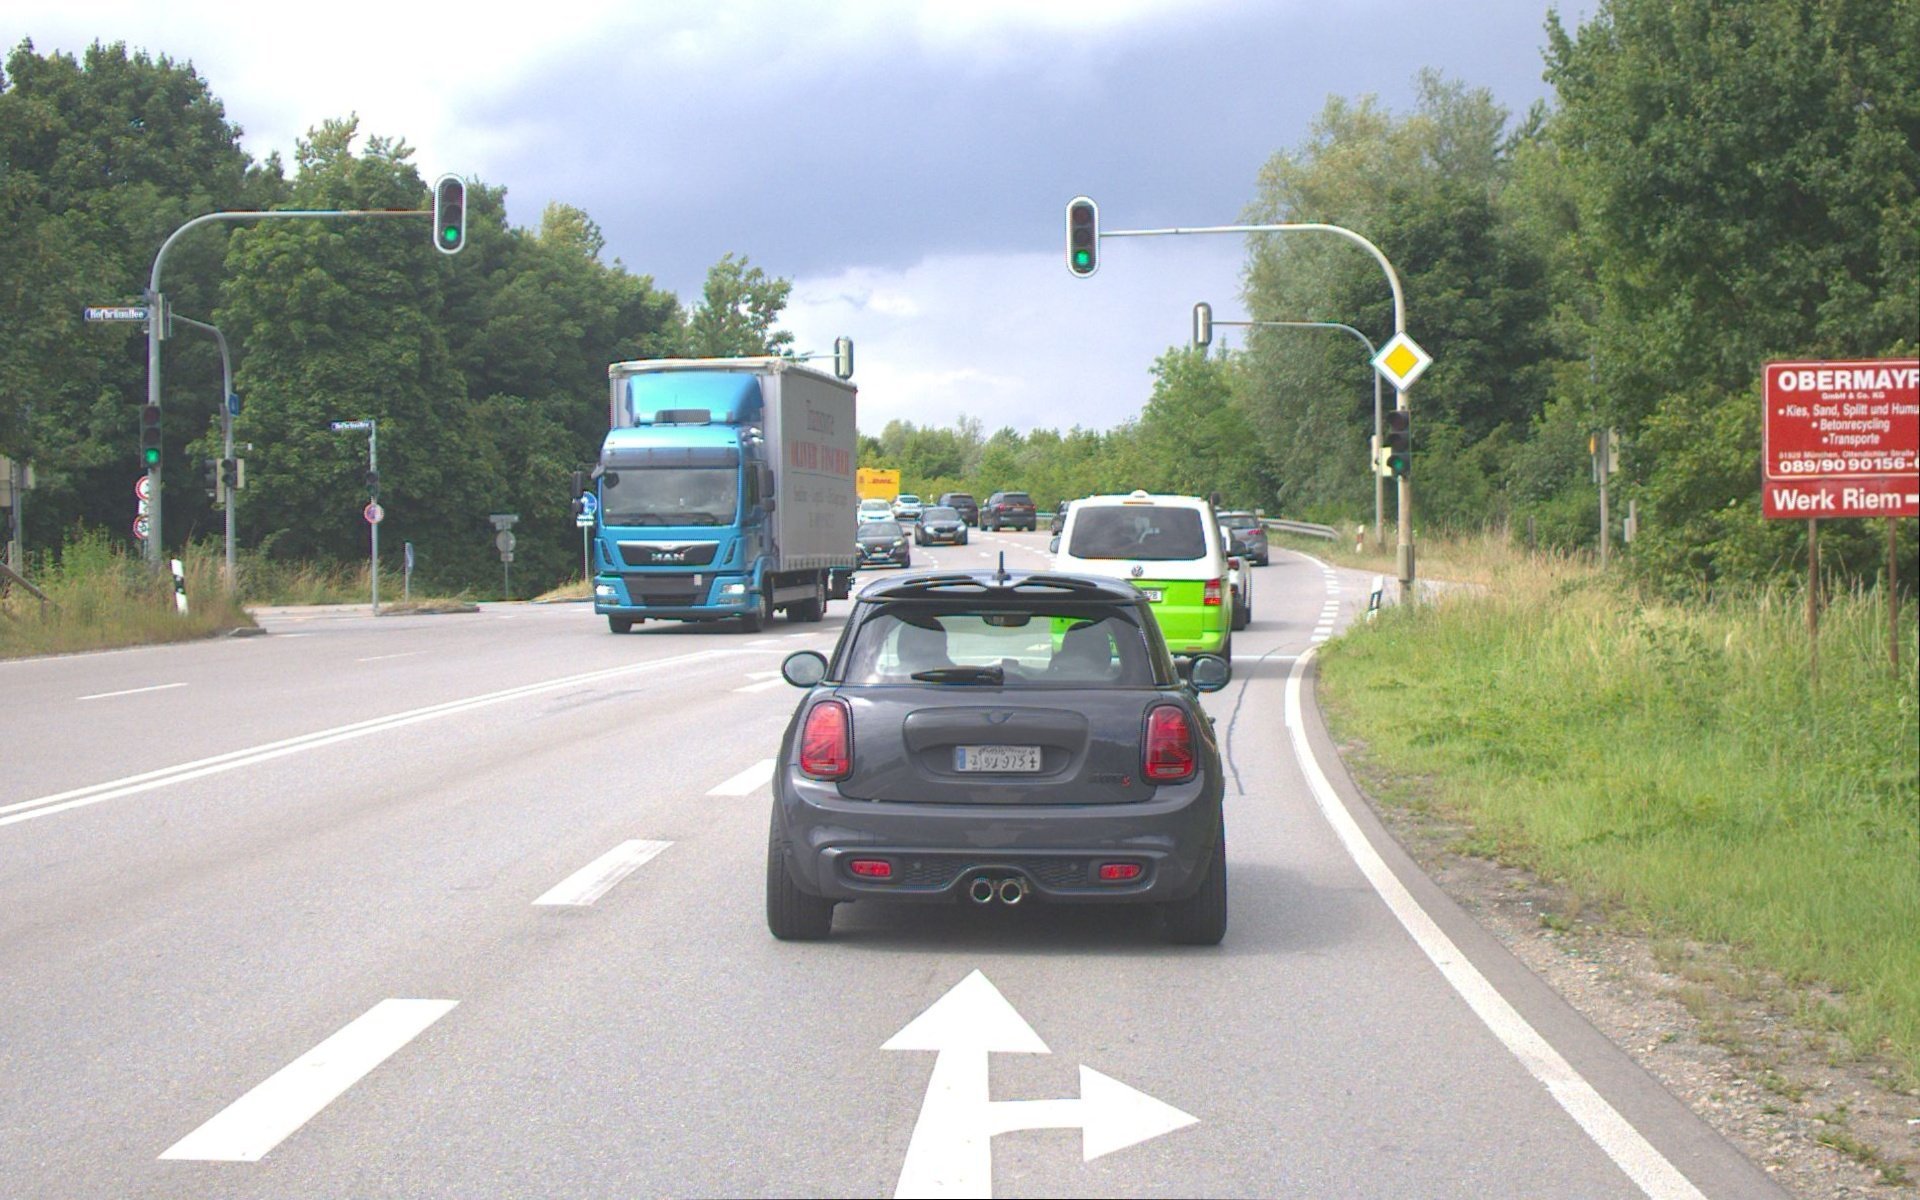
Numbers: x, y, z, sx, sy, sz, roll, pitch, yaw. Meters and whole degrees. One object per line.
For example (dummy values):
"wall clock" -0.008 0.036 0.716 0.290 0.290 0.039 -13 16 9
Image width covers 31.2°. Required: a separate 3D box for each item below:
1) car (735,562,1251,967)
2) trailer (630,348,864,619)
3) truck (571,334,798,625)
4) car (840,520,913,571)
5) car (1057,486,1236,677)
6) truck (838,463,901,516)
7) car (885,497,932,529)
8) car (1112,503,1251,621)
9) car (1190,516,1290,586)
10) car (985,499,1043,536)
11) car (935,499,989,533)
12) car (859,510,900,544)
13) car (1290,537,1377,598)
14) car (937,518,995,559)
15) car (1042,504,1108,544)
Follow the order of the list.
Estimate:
"car" 0.165 0.573 14.330 1.845 1.423 3.841 1 1 1
"trailer" -3.330 -1.819 55.385 2.528 4.087 6.733 0 1 7
"truck" -3.980 -1.735 50.402 2.540 4.082 3.999 0 1 8
"car" -2.633 -1.741 109.103 1.792 1.568 3.999 0 1 7
"car" 2.073 -0.239 37.757 1.845 1.980 3.841 1 1 4
"truck" -5.564 -6.733 210.369 2.716 2.888 8.772 1 -1 -9
"car" -2.933 -4.922 194.846 1.993 1.781 4.487 0 1 -10
"car" 3.310 -0.565 51.514 1.994 1.678 4.000 0 0 3
"car" 7.256 -1.249 88.886 1.995 1.678 3.997 1 -1 13
"car" 2.494 -3.803 159.700 1.993 1.690 4.487 0 1 -8
"car" 0.094 -4.280 175.982 1.993 1.690 4.487 0 1 -10
"car" -3.765 -3.430 161.156 1.729 1.499 4.347 -1 2 1
"car" 10.994 -0.939 101.053 1.995 1.678 3.974 1 -1 14
"car" 0.245 -2.452 136.980 1.788 1.525 4.902 -2 1 6
"car" 4.837 -3.192 144.923 1.993 1.690 4.487 0 1 -8
